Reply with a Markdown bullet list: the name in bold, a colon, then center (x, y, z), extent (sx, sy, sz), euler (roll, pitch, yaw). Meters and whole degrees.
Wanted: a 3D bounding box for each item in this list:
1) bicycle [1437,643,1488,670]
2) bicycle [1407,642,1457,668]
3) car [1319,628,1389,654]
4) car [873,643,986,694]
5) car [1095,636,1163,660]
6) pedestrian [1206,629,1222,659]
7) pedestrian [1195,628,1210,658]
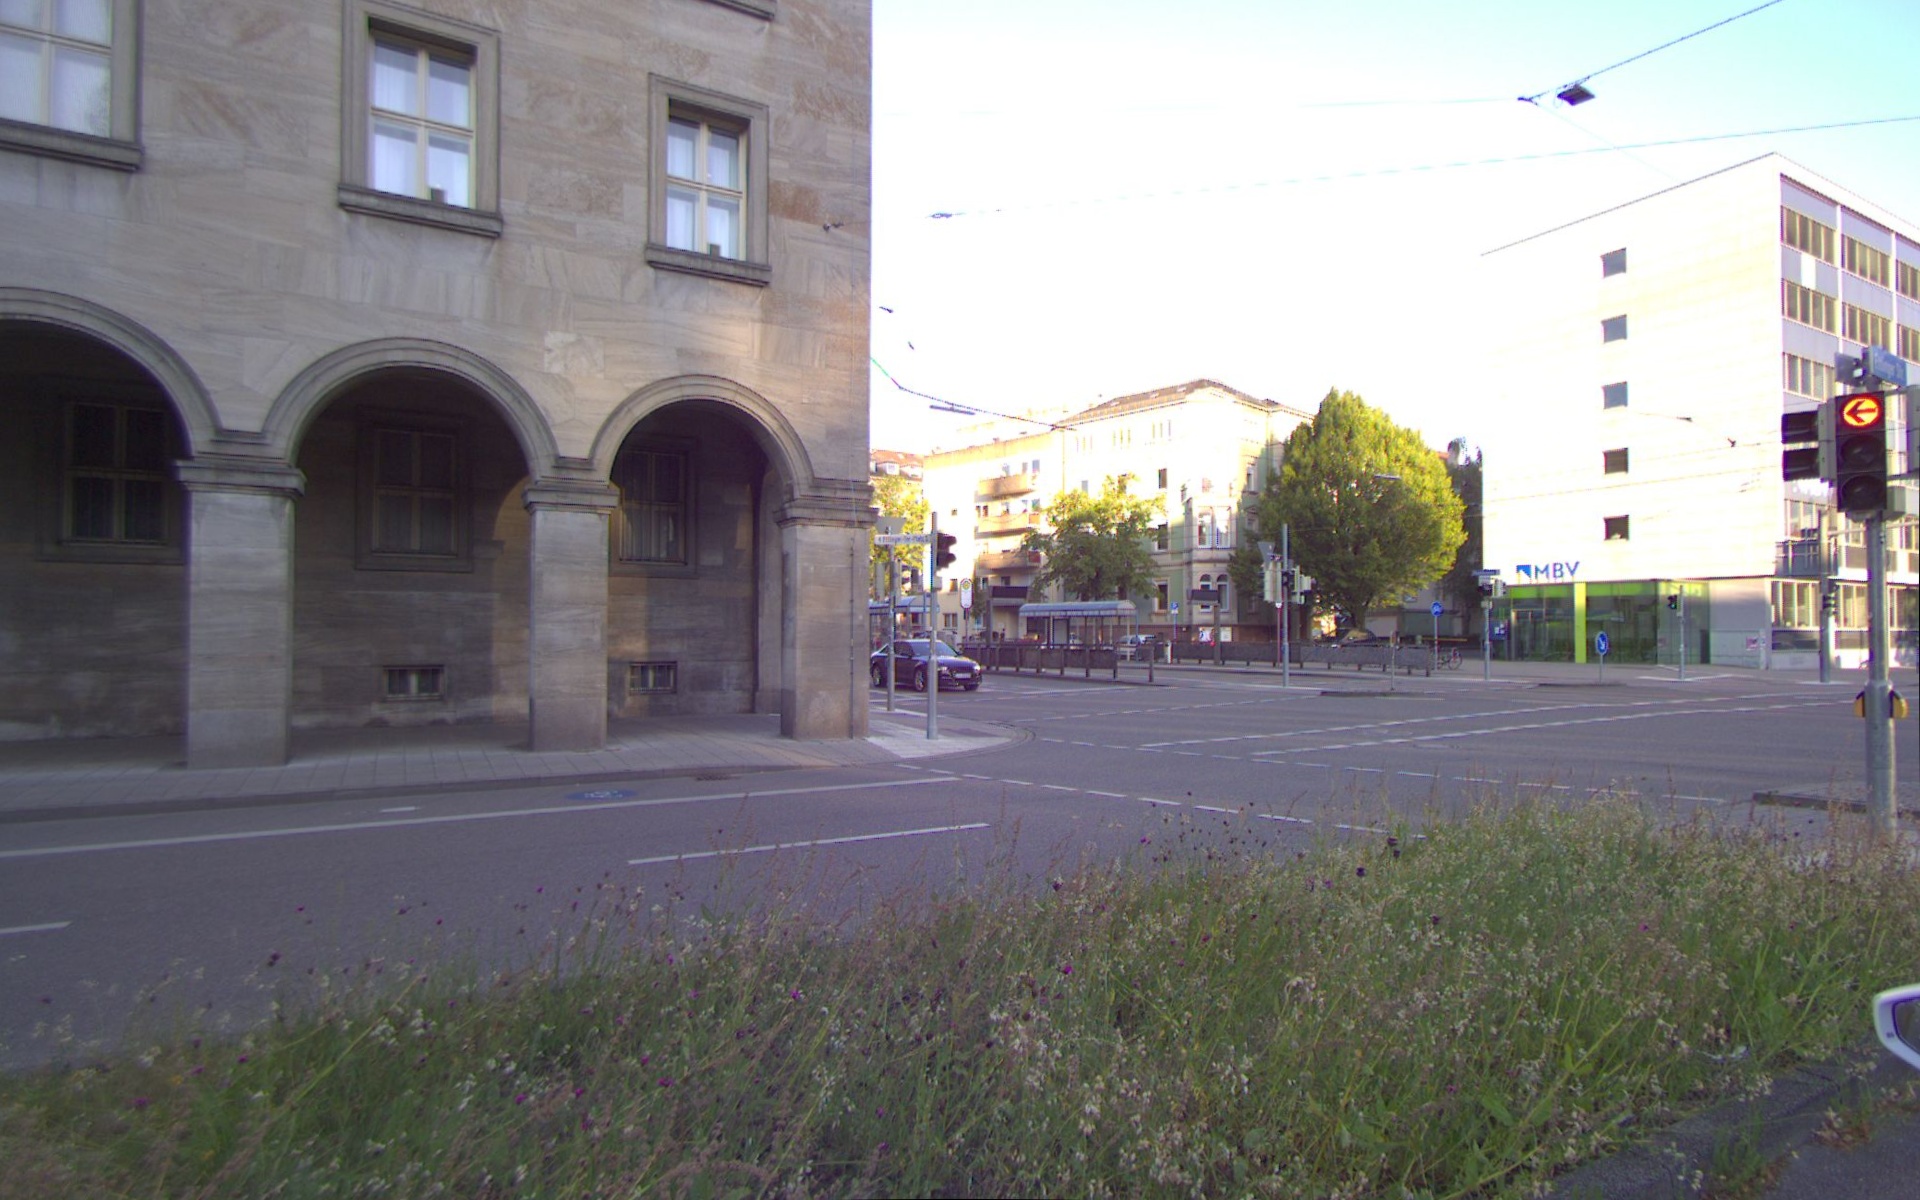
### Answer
- **bicycle**: center (21.759, 2.431, 43.526), extent (2.183, 1.127, 0.834), euler (1, -2, -26)
- **bicycle**: center (21.012, 2.419, 44.698), extent (2.183, 1.127, 0.834), euler (1, -2, -26)
- **car**: center (21.560, 2.230, 54.991), extent (3.553, 1.390, 1.826), euler (1, -2, -32)
- **car**: center (-0.985, 1.972, 29.776), extent (1.791, 1.344, 4.120), euler (1, -2, -27)
- **car**: center (9.943, 2.817, 59.252), extent (3.545, 1.390, 1.831), euler (-2, -3, 44)
- **pedestrian**: center (15.255, 2.632, 60.360), extent (0.718, 1.813, 0.634), euler (2, -2, -43)
- **pedestrian**: center (14.494, 2.563, 60.037), extent (0.718, 1.813, 0.634), euler (2, -2, -44)
